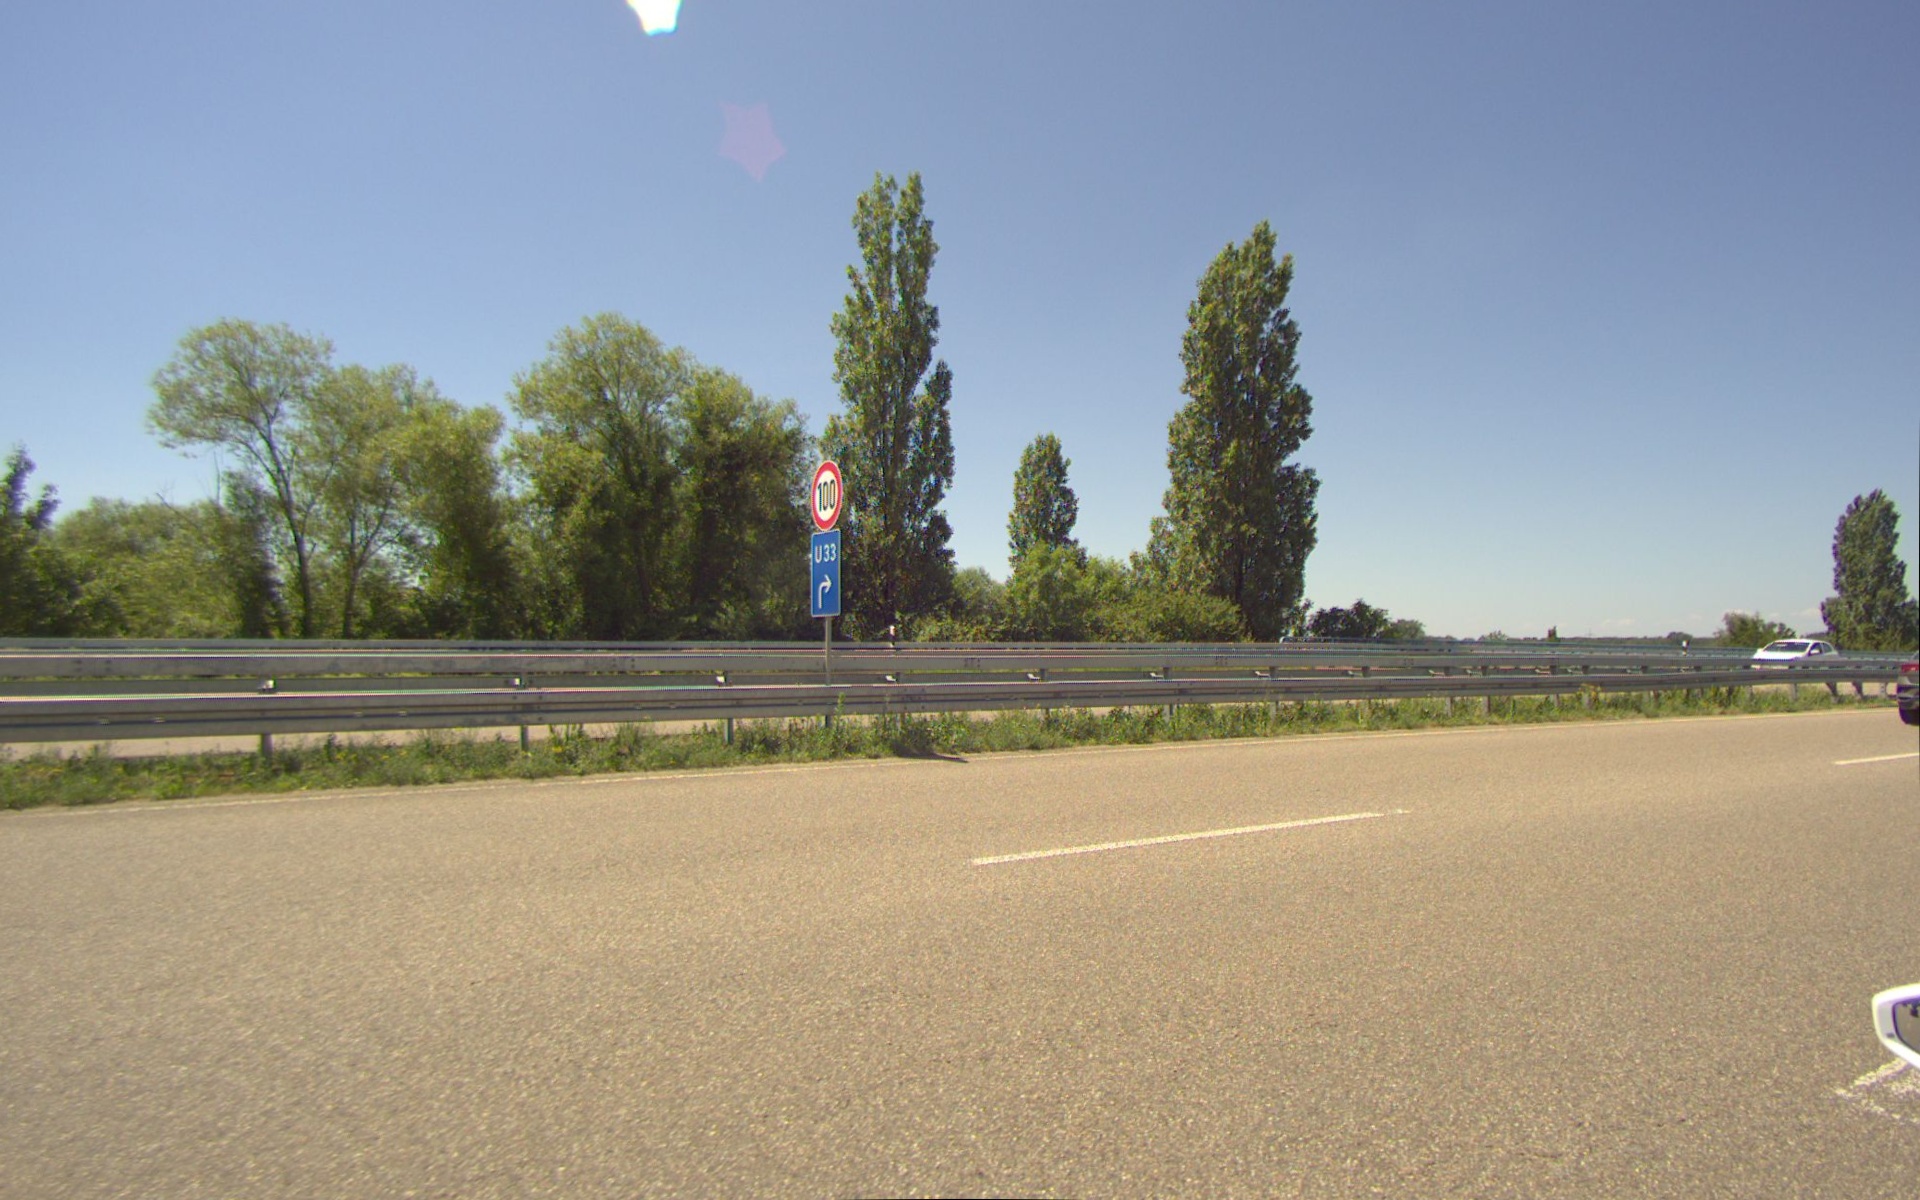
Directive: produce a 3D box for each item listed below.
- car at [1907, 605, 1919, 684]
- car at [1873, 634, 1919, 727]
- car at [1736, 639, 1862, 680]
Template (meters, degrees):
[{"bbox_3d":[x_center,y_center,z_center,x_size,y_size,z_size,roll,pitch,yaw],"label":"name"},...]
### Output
[{"bbox_3d":[44.210,1.987,43.437,6.931,3.335,2.299,2,-2,-25],"label":"car"},{"bbox_3d":[18.231,1.419,17.696,4.414,1.550,1.834,2,-1,-28],"label":"car"},{"bbox_3d":[31.365,2.220,37.536,4.731,1.451,1.847,2,-2,-26],"label":"car"}]
